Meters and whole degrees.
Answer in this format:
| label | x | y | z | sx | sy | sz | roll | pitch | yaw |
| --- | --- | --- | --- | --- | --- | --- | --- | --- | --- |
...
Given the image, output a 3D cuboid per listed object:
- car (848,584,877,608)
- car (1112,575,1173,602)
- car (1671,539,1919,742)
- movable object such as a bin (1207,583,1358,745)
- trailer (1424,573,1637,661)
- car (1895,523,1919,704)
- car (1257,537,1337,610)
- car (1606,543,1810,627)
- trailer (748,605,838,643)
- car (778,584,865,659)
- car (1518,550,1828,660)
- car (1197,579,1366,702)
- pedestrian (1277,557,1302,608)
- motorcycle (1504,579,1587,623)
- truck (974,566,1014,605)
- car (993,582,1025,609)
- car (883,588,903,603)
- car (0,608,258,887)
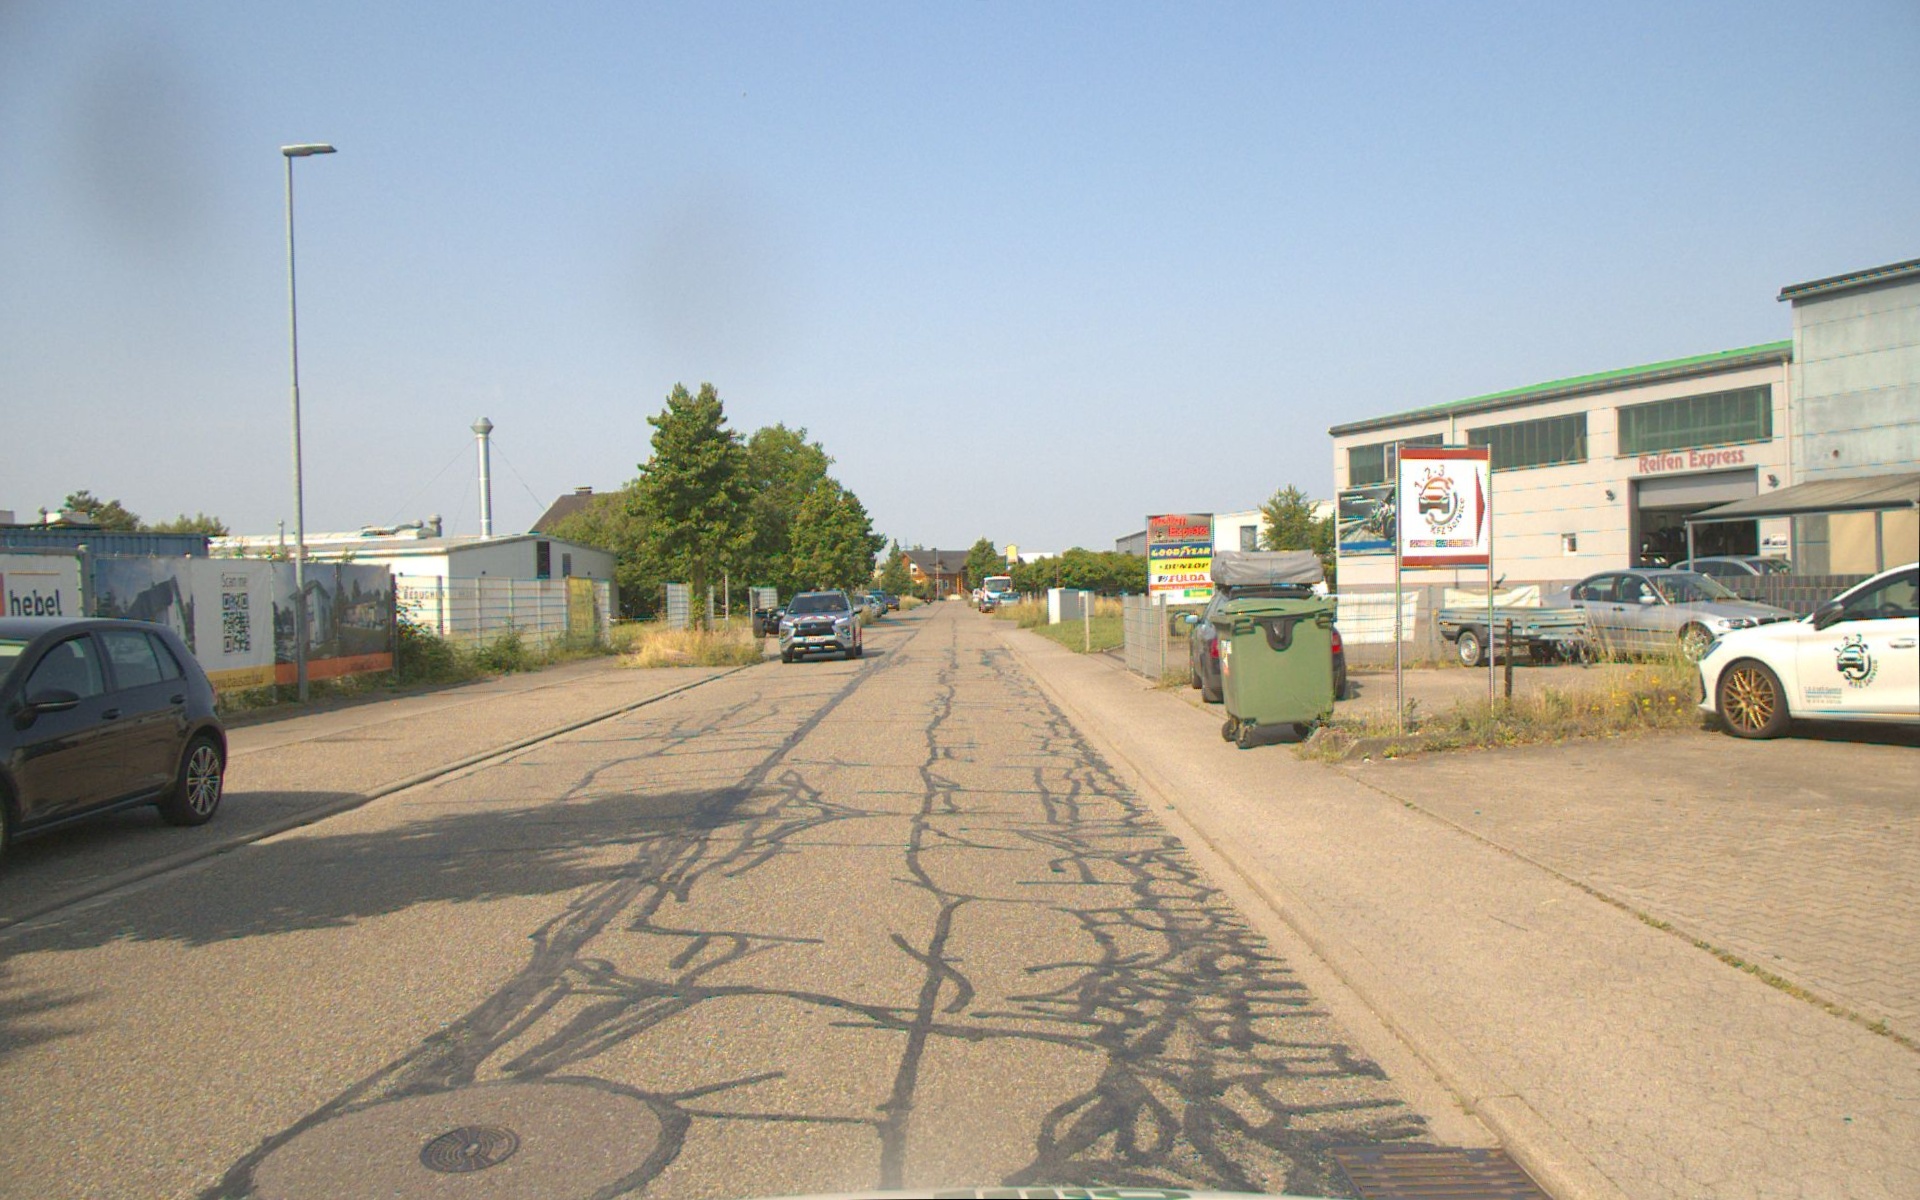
| label | x | y | z | sx | sy | sz | roll | pitch | yaw |
| --- | --- | --- | --- | --- | --- | --- | --- | --- | --- |
| car | -6.486 | -0.277 | 110.069 | 1.649 | 1.495 | 4.253 | 0 | 0 | 0 |
| car | 12.378 | -0.789 | 112.043 | 1.659 | 1.616 | 4.501 | -2 | 1 | 45 |
| car | 7.737 | 0.271 | 12.629 | 1.665 | 1.491 | 4.230 | -2 | 1 | -24 |
| movable object such as a bin | 3.019 | 0.568 | 15.654 | 1.059 | 1.376 | 1.506 | -4 | 0 | 1 |
| trailer | 8.744 | 0.239 | 25.543 | 1.472 | 1.270 | 2.952 | -1 | 0 | -26 |
| car | 9.987 | 0.083 | 13.290 | 1.693 | 1.599 | 4.102 | -2 | 1 | -24 |
| car | 13.641 | -1.047 | 67.230 | 1.934 | 2.752 | 5.880 | -2 | 0 | -1 |
| car | 15.353 | -0.299 | 34.149 | 1.611 | 1.595 | 3.781 | -2 | 0 | -21 |
| trailer | -6.153 | 0.859 | 62.148 | 2.530 | 1.205 | 9.362 | 0 | 0 | -1 |
| car | -3.324 | 0.466 | 40.363 | 1.775 | 1.655 | 4.249 | -2 | 1 | -1 |
| car | 10.730 | 0.072 | 25.255 | 1.618 | 1.491 | 4.427 | -2 | 1 | -24 |
| car | 4.104 | 0.455 | 21.687 | 1.638 | 1.392 | 4.396 | -2 | 1 | 4 |
| pedestrian | 10.968 | -0.590 | 55.060 | 0.687 | 1.668 | 0.749 | -2 | 0 | 16 |
| motorcycle | 15.586 | 0.025 | 44.101 | 0.790 | 1.113 | 2.186 | -2 | 0 | -24 |
| truck | 2.502 | -1.048 | 123.409 | 2.312 | 2.728 | 6.506 | -2 | 0 | -4 |
| car | 2.941 | -0.276 | 99.931 | 1.757 | 1.544 | 4.423 | -2 | 0 | -1 |
| car | -6.434 | -0.455 | 159.089 | 1.763 | 1.411 | 3.637 | 0 | 1 | -1 |
| car | -6.128 | 0.854 | 10.309 | 1.652 | 1.495 | 4.094 | -2 | 1 | 1 |
